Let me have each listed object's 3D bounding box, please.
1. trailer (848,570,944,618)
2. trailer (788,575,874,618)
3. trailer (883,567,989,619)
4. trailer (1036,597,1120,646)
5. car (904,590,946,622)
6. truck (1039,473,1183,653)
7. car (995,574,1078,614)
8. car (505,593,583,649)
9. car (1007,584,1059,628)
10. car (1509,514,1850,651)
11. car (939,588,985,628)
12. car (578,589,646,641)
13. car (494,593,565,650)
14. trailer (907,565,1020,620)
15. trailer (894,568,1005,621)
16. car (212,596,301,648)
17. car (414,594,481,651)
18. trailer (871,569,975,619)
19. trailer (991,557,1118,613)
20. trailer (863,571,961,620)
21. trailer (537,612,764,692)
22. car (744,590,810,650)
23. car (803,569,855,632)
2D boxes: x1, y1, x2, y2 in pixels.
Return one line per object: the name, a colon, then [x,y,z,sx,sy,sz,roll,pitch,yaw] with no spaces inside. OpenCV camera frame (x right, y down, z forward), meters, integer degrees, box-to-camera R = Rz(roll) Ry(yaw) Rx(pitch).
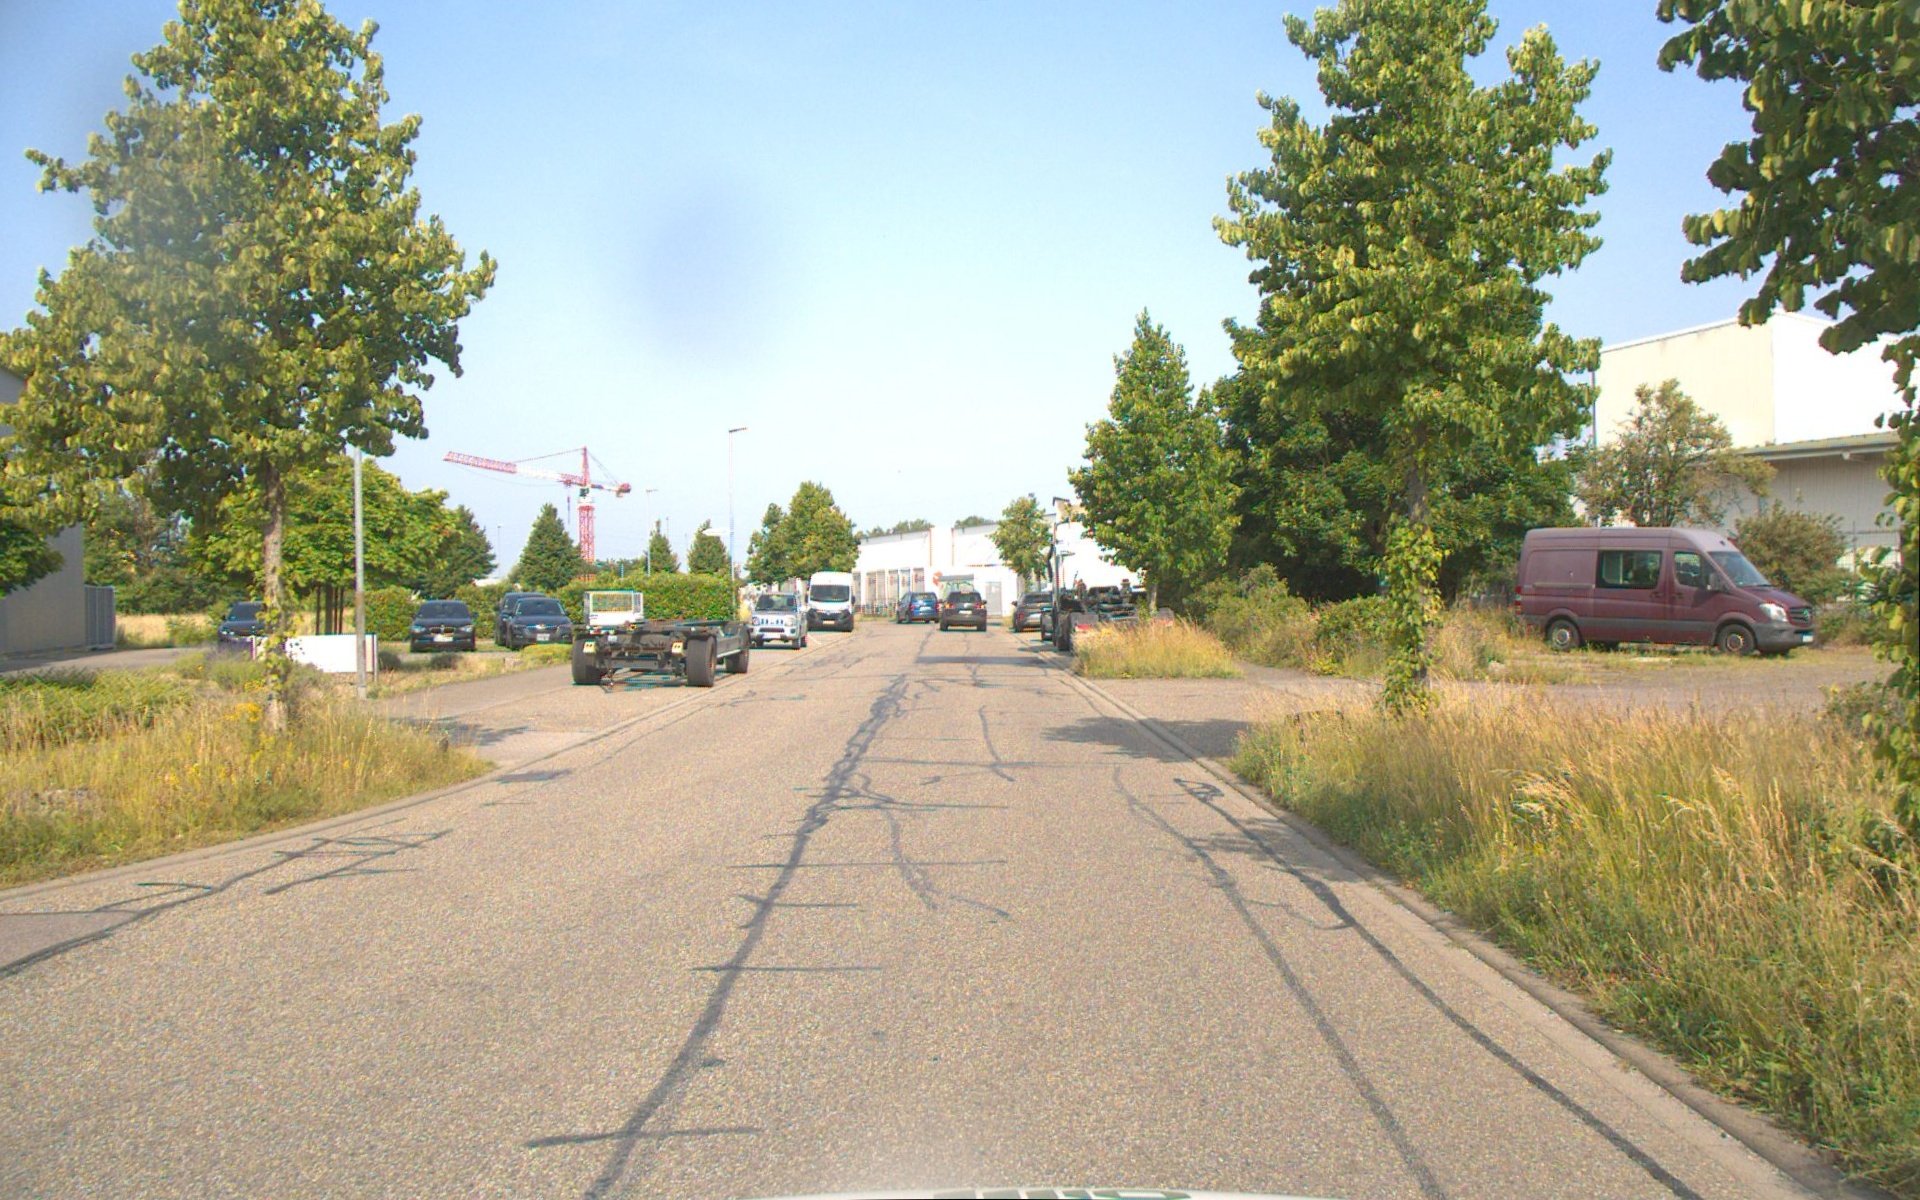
trailer: [-5.566,-0.501,143.978,7.858,3.962,2.755,2,0,-24]
trailer: [-12.629,-0.327,161.585,7.858,3.962,2.755,2,0,-24]
trailer: [-1.928,-0.569,134.724,8.199,3.962,2.755,2,0,-25]
trailer: [3.439,0.588,49.545,1.899,1.257,7.450,-3,0,0]
car: [-1.870,0.329,87.135,1.930,1.601,4.109,-1,-1,-4]
truck: [3.667,-0.873,41.556,2.638,4.033,6.045,-3,0,-2]
car: [4.311,-0.320,93.945,4.517,2.147,2.127,-1,-1,-3]
car: [-12.041,0.573,47.687,1.945,1.502,4.400,0,0,-18]
car: [2.866,0.256,65.655,1.842,1.601,4.113,-2,-1,0]
car: [14.700,-0.340,34.122,2.552,2.570,5.957,2,0,-41]
car: [0.075,0.346,70.134,1.842,1.614,4.113,-1,-1,0]
car: [-11.194,0.464,53.067,1.804,1.599,3.798,1,0,-17]
car: [-13.707,0.648,52.471,1.958,1.687,4.400,0,0,-18]
trailer: [0.310,-0.563,129.019,8.424,3.962,2.755,2,0,-25]
trailer: [-0.819,-0.437,131.954,8.424,3.962,2.755,2,0,-25]
car: [-19.232,0.576,45.356,1.960,1.348,4.326,0,0,-20]
car: [-14.580,0.606,46.930,1.654,1.502,4.326,0,0,-20]
trailer: [-3.023,-0.461,137.566,8.199,3.962,2.755,2,0,-25]
trailer: [6.596,-0.992,115.534,8.617,3.827,2.770,0,-1,-24]
trailer: [-4.063,-0.359,141.410,7.928,3.962,2.755,2,0,-24]
trailer: [-5.502,0.868,31.163,2.494,1.093,9.731,1,0,0]
car: [-5.434,0.561,49.417,1.564,1.680,3.644,-1,0,0]
car: [-5.817,0.013,74.055,2.060,2.640,6.499,2,0,-3]
